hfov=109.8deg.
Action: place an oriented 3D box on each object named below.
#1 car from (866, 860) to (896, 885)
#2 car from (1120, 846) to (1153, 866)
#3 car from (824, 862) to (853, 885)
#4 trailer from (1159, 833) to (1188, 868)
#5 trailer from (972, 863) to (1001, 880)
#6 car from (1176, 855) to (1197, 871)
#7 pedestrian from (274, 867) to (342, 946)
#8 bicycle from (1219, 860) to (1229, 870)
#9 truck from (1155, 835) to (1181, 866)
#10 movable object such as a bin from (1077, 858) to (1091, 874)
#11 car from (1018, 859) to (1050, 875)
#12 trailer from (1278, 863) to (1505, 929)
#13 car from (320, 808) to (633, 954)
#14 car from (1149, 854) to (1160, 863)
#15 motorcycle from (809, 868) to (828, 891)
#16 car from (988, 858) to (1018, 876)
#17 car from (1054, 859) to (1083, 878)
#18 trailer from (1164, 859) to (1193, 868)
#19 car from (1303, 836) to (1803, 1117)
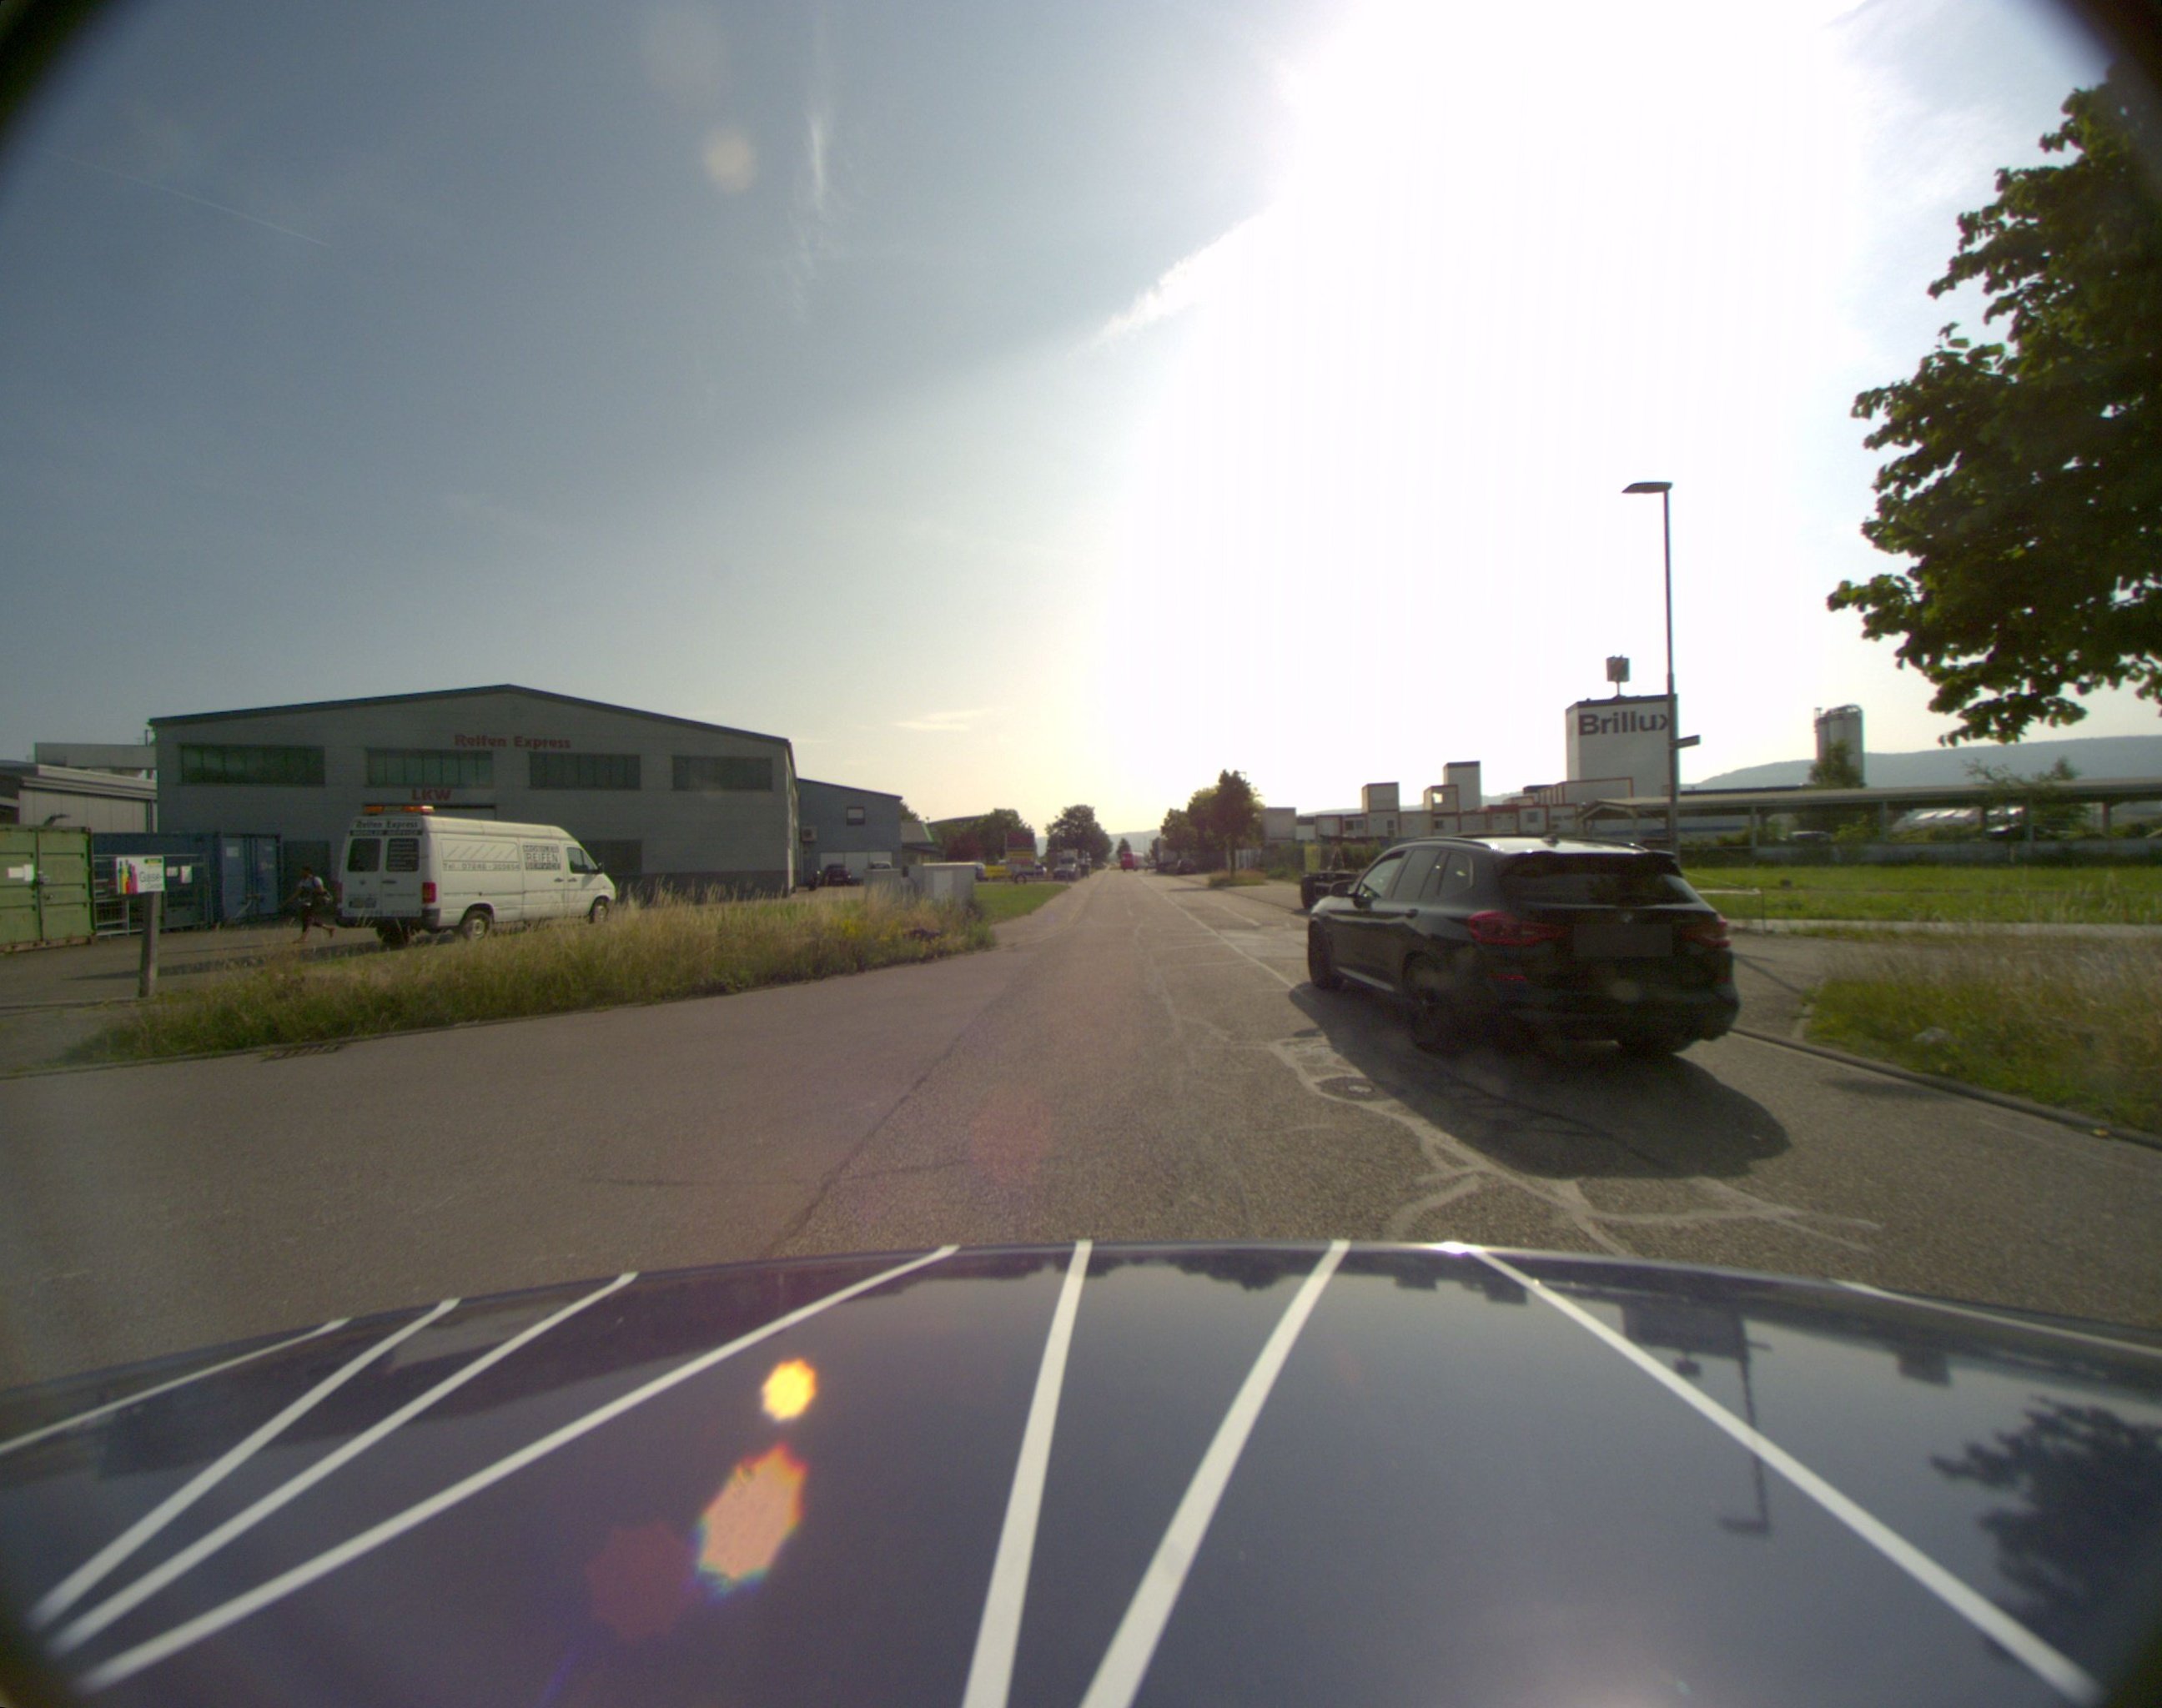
[{"bbox_3d":[-13.545,1.214,51.332,1.640,1.559,3.800,-1,0,-19],"label":"car"},{"bbox_3d":[7.728,0.266,105.801,2.276,2.524,6.756,-3,0,25],"label":"car"},{"bbox_3d":[-15.988,1.273,49.998,1.683,1.394,3.706,-1,0,-19],"label":"car"},{"bbox_3d":[11.108,-0.415,92.276,2.706,3.861,9.767,-3,0,3],"label":"trailer"},{"bbox_3d":[-7.284,1.331,58.244,1.496,1.240,2.972,-3,0,-21],"label":"trailer"},{"bbox_3d":[10.008,0.862,72.249,1.691,1.461,4.095,-1,0,4],"label":"car"},{"bbox_3d":[-16.605,1.117,16.334,0.703,1.630,0.750,-1,0,18],"label":"pedestrian"},{"bbox_3d":[13.527,1.033,72.001,0.563,0.967,2.453,-1,0,2],"label":"bicycle"},{"bbox_3d":[11.593,-0.416,101.883,2.719,3.861,9.638,-3,0,3],"label":"truck"},{"bbox_3d":[0.286,1.088,68.214,1.083,1.345,1.506,1,0,5],"label":"movable object such as a bin"},{"bbox_3d":[-4.410,1.229,71.070,1.695,1.457,4.255,-1,0,-21],"label":"car"},{"bbox_3d":[7.634,0.931,20.432,2.588,1.177,9.364,-3,0,2],"label":"trailer"},{"bbox_3d":[-13.013,0.525,17.104,1.978,2.689,5.882,-1,0,4],"label":"car"},{"bbox_3d":[13.764,0.875,142.122,1.816,1.617,4.250,-1,0,2],"label":"car"},{"bbox_3d":[-13.423,1.289,38.854,0.804,1.088,2.199,-1,0,-21],"label":"motorcycle"},{"bbox_3d":[-7.191,1.158,69.812,1.722,1.563,4.126,-1,0,-21],"label":"car"},{"bbox_3d":[-0.932,1.141,61.211,1.677,1.360,4.396,-1,0,7],"label":"car"},{"bbox_3d":[10.765,1.053,84.244,2.655,0.979,6.244,-1,0,2],"label":"trailer"},{"bbox_3d":[3.496,0.758,6.753,1.860,1.705,4.227,0,0,1],"label":"car"}]
